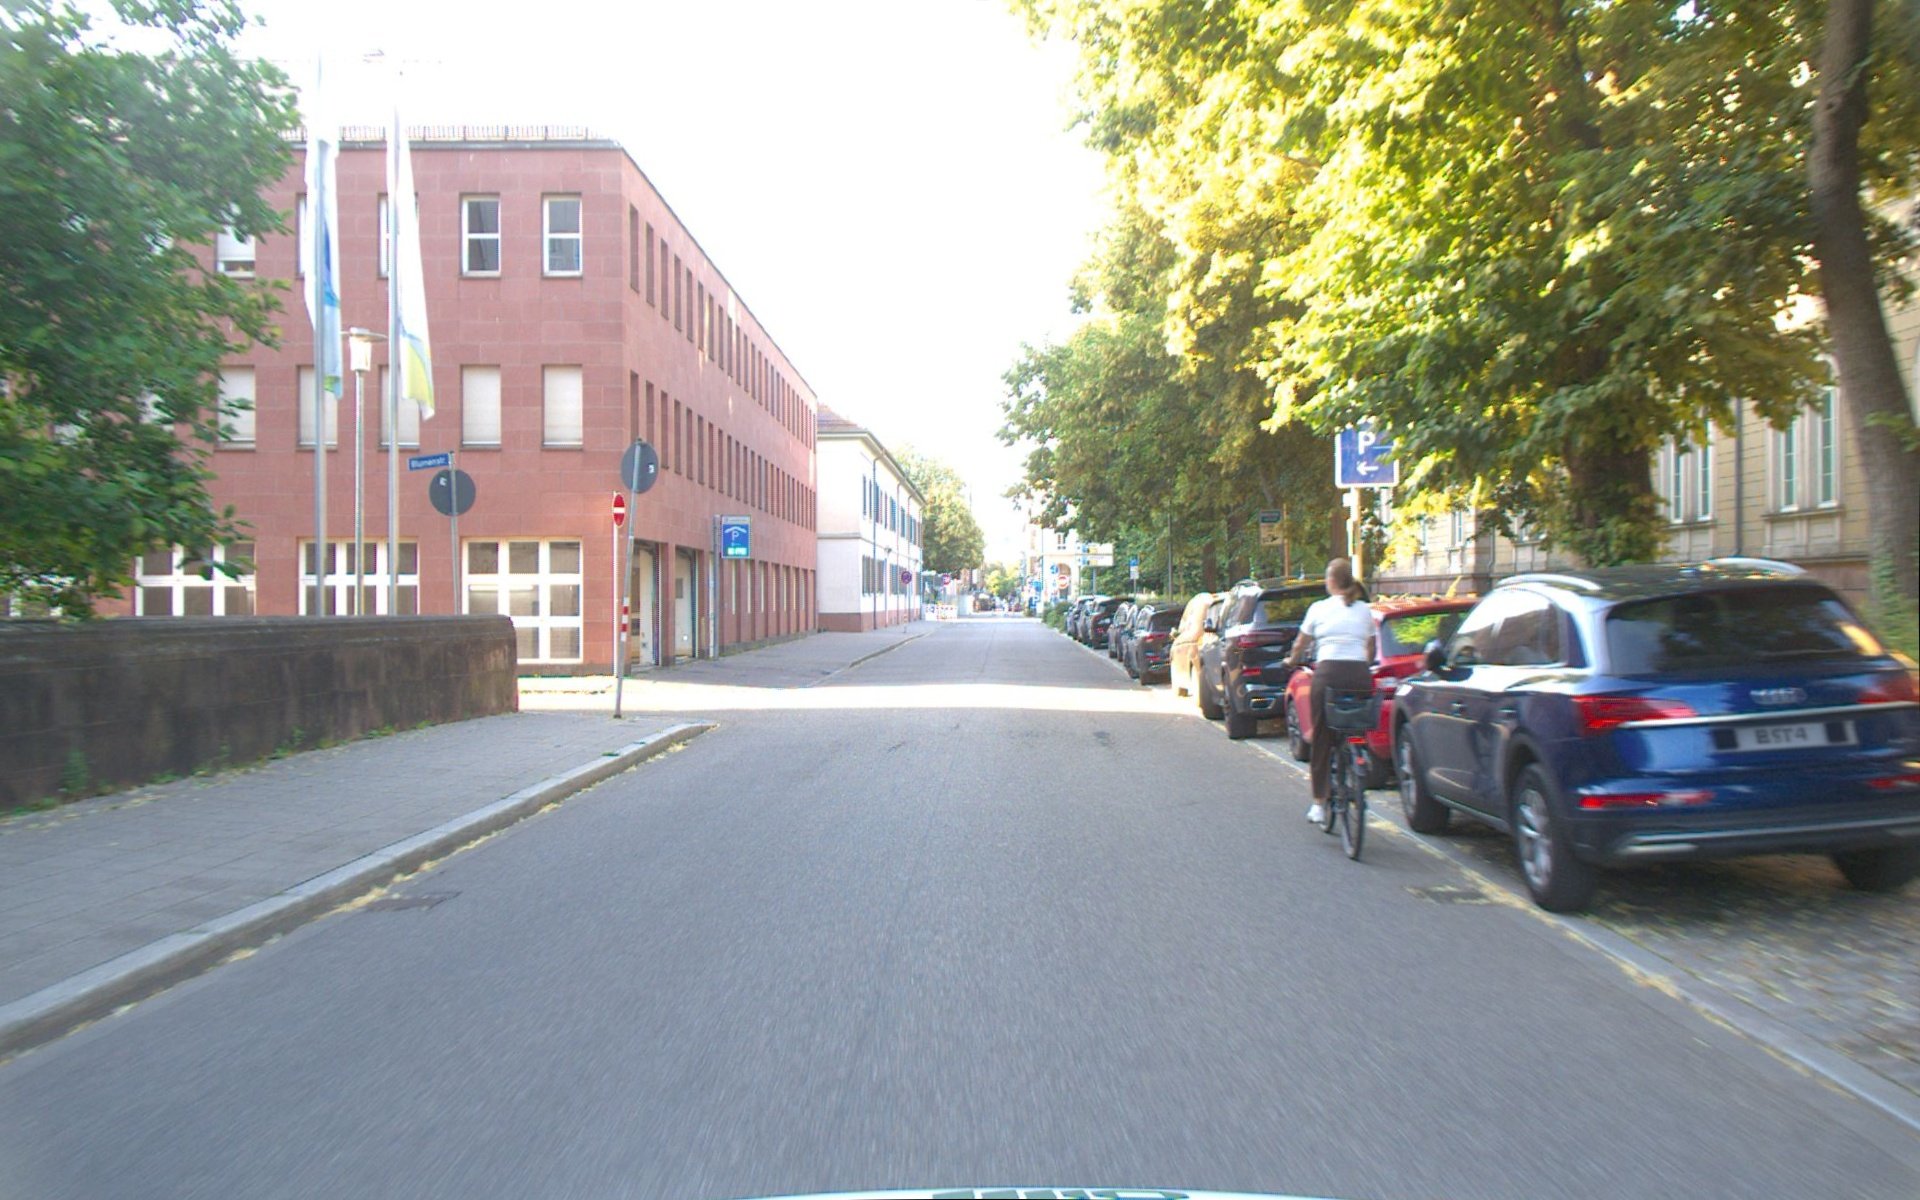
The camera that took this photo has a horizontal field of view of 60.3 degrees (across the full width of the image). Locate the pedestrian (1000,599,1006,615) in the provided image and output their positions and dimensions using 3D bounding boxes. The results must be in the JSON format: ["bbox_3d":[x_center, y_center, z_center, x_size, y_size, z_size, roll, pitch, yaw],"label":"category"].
[{"bbox_3d":[4.514,0.752,174.828,0.644,1.664,0.745,-1,-1,2],"label":"pedestrian"}]

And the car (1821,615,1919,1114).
[{"bbox_3d":[3.672,0.734,3.358,1.689,1.463,3.999,-1,-1,-1],"label":"car"}]

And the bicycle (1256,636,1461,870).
[{"bbox_3d":[2.489,0.903,10.609,0.736,1.274,2.209,-1,0,-1],"label":"bicycle"}]

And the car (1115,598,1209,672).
[{"bbox_3d":[4.579,0.790,37.948,1.688,1.560,4.189,-1,-1,1],"label":"car"}]

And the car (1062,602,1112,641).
[{"bbox_3d":[5.468,0.918,71.704,1.689,1.514,4.610,-4,0,0],"label":"car"}]

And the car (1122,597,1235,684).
[{"bbox_3d":[4.259,0.787,32.870,1.688,1.560,4.623,-1,-1,1],"label":"car"}]

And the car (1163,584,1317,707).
[{"bbox_3d":[4.252,0.680,25.743,1.688,1.712,4.499,-1,-1,1],"label":"car"}]

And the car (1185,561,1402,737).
[{"bbox_3d":[3.899,0.569,20.152,1.767,1.845,4.948,-1,-1,2],"label":"car"}]

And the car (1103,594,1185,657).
[{"bbox_3d":[4.766,0.669,43.392,1.699,1.533,4.522,-1,-1,1],"label":"car"}]

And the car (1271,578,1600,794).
[{"bbox_3d":[4.002,0.692,14.614,1.689,1.616,3.968,-1,-1,-1],"label":"car"}]

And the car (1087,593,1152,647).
[{"bbox_3d":[5.222,0.665,54.595,1.769,1.680,4.419,-1,-1,1],"label":"car"}]

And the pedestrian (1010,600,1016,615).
[{"bbox_3d":[5.504,0.783,172.292,0.644,1.645,0.745,-1,-1,2],"label":"pedestrian"}]

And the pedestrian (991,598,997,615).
[{"bbox_3d":[3.571,0.695,174.811,0.644,1.790,0.745,-1,-1,2],"label":"pedestrian"}]

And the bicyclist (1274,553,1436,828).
[{"bbox_3d":[2.476,0.540,10.467,0.736,1.641,1.038,-1,0,-1],"label":"bicyclist"}]

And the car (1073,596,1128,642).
[{"bbox_3d":[5.034,0.683,59.628,1.688,1.565,4.189,-1,-1,1],"label":"car"}]

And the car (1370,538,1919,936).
[{"bbox_3d":[3.840,0.634,9.581,1.842,1.717,4.695,-1,-1,1],"label":"car"}]

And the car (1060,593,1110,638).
[{"bbox_3d":[4.947,0.631,65.779,1.688,1.680,4.713,-1,-1,1],"label":"car"}]
